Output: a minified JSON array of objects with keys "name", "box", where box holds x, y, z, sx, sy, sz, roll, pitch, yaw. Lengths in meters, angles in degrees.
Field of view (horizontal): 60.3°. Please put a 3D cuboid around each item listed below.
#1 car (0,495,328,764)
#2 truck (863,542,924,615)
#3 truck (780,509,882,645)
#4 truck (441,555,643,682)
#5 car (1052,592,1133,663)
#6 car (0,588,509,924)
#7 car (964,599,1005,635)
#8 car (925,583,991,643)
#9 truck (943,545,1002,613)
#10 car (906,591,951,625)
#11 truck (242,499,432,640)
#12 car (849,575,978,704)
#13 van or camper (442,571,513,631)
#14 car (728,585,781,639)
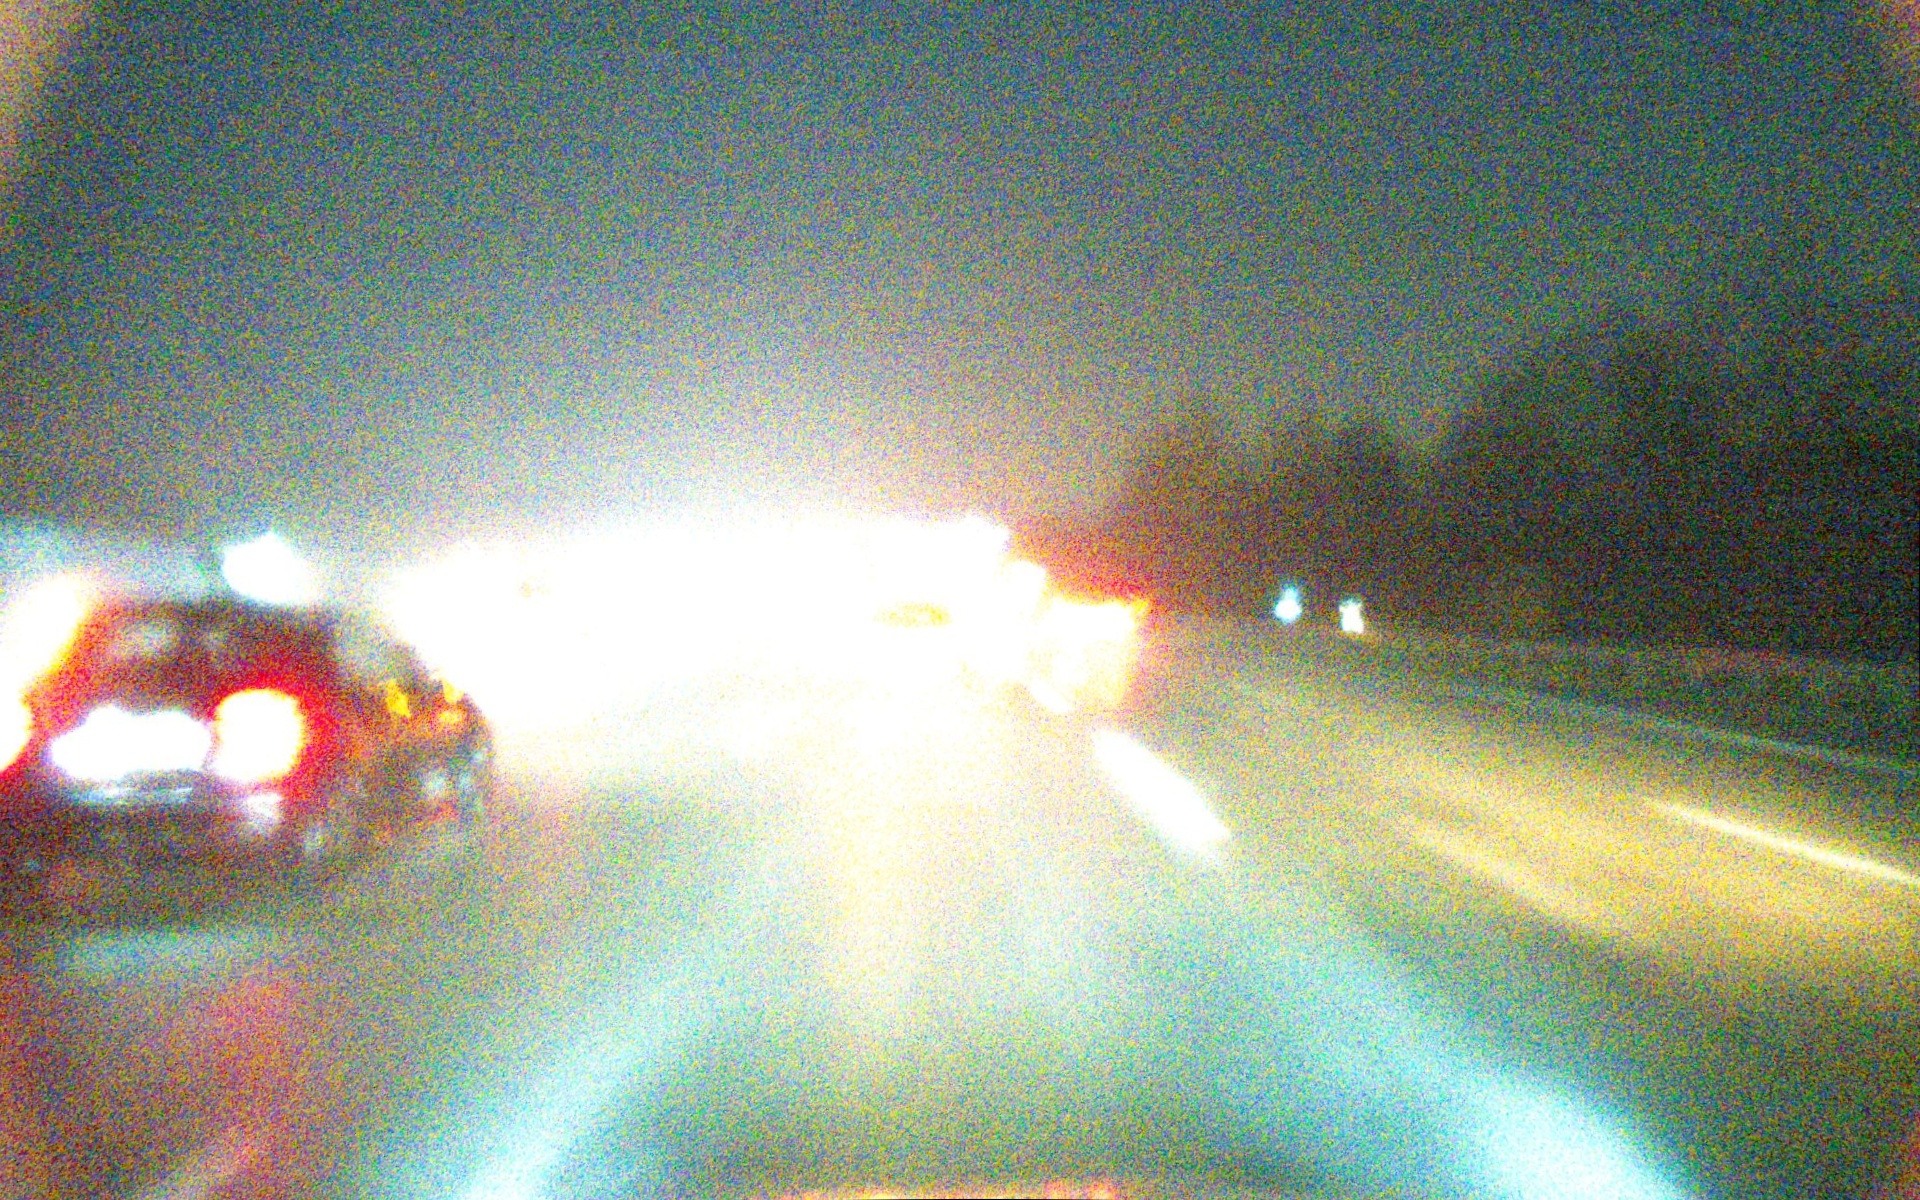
[{"name":"car","box":[-8.202,0.227,16.001,2.080,2.141,5.628,1,0,-1]},{"name":"truck","box":[-5.172,-1.604,131.608,4.166,5.539,10.884,1,0,1]},{"name":"truck","box":[-5.048,-0.798,64.410,3.585,4.820,9.842,1,0,-5]},{"name":"truck","box":[-8.107,0.350,32.833,2.800,2.239,5.854,1,0,-4]},{"name":"car","box":[3.522,0.708,44.543,1.839,1.793,4.000,1,0,0]},{"name":"car","box":[-3.840,0.677,9.427,1.624,1.456,4.243,1,1,-4]},{"name":"car","box":[1.232,0.872,85.109,1.953,1.733,4.457,1,0,-1]},{"name":"car","box":[-0.095,0.395,52.767,1.997,1.792,4.514,1,0,-1]},{"name":"truck","box":[0.948,-1.641,136.279,4.079,5.306,9.946,1,0,-4]},{"name":"car","box":[-2.009,0.508,106.543,2.775,2.049,5.509,1,0,0]},{"name":"truck","box":[-31.925,-1.387,86.109,3.157,6.524,17.302,1,0,0]},{"name":"car","box":[-0.632,0.517,24.453,1.729,1.719,4.000,1,1,0]},{"name":"van or camper","box":[-31.647,0.063,108.744,2.463,3.766,7.678,1,0,-1]},{"name":"car","box":[-9.231,0.518,74.333,2.221,2.313,5.377,1,0,-7]}]
